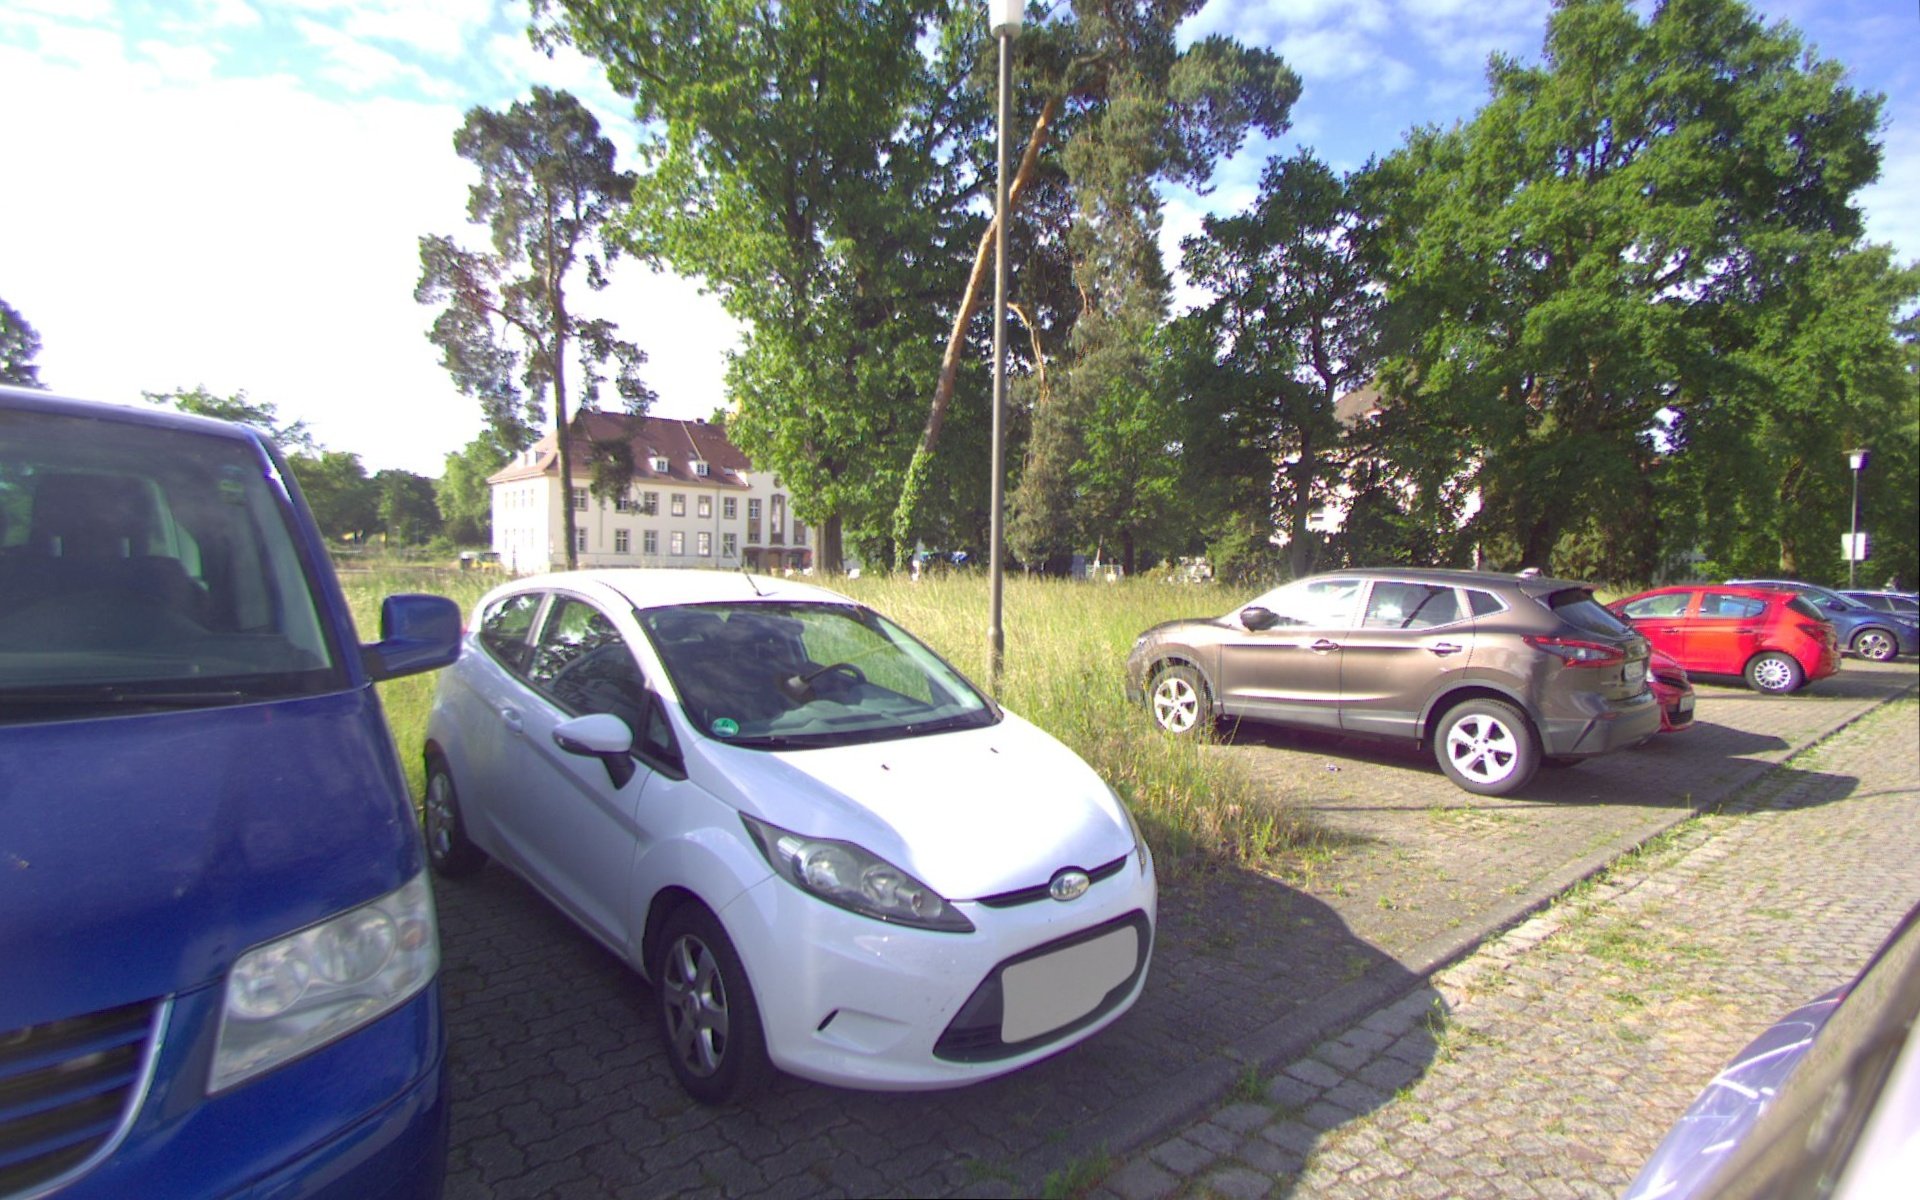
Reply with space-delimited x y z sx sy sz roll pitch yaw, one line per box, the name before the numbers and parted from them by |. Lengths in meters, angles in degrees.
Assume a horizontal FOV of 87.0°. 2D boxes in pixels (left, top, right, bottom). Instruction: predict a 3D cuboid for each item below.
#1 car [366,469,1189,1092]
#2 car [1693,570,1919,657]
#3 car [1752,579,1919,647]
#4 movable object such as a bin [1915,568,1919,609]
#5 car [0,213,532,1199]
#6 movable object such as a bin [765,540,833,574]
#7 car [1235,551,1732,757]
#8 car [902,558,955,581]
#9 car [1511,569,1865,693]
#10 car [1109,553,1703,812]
car | -1.309 0.326 4.872 1.906 1.596 4.407 -1 4 -41
car | 18.675 0.243 22.009 1.821 1.576 4.094 0 3 -42
car | 22.280 0.300 24.935 1.754 1.440 4.094 0 4 -42
movable object such as a bin | 48.956 -0.499 48.023 1.959 2.039 4.882 0 1 -28
car | -3.094 0.304 3.041 1.965 1.959 4.708 -1 4 -41
movable object such as a bin | -16.503 -4.367 103.896 6.336 3.342 2.863 -1 0 6
car | 5.305 0.360 10.682 1.903 1.617 4.231 -1 5 -43
car | -2.703 -2.631 87.983 4.318 1.963 1.905 -2 1 -40
car | 11.053 0.366 15.590 1.821 1.477 4.094 0 4 -42
car | 3.547 0.436 8.647 1.903 1.617 4.231 -1 3 -43
